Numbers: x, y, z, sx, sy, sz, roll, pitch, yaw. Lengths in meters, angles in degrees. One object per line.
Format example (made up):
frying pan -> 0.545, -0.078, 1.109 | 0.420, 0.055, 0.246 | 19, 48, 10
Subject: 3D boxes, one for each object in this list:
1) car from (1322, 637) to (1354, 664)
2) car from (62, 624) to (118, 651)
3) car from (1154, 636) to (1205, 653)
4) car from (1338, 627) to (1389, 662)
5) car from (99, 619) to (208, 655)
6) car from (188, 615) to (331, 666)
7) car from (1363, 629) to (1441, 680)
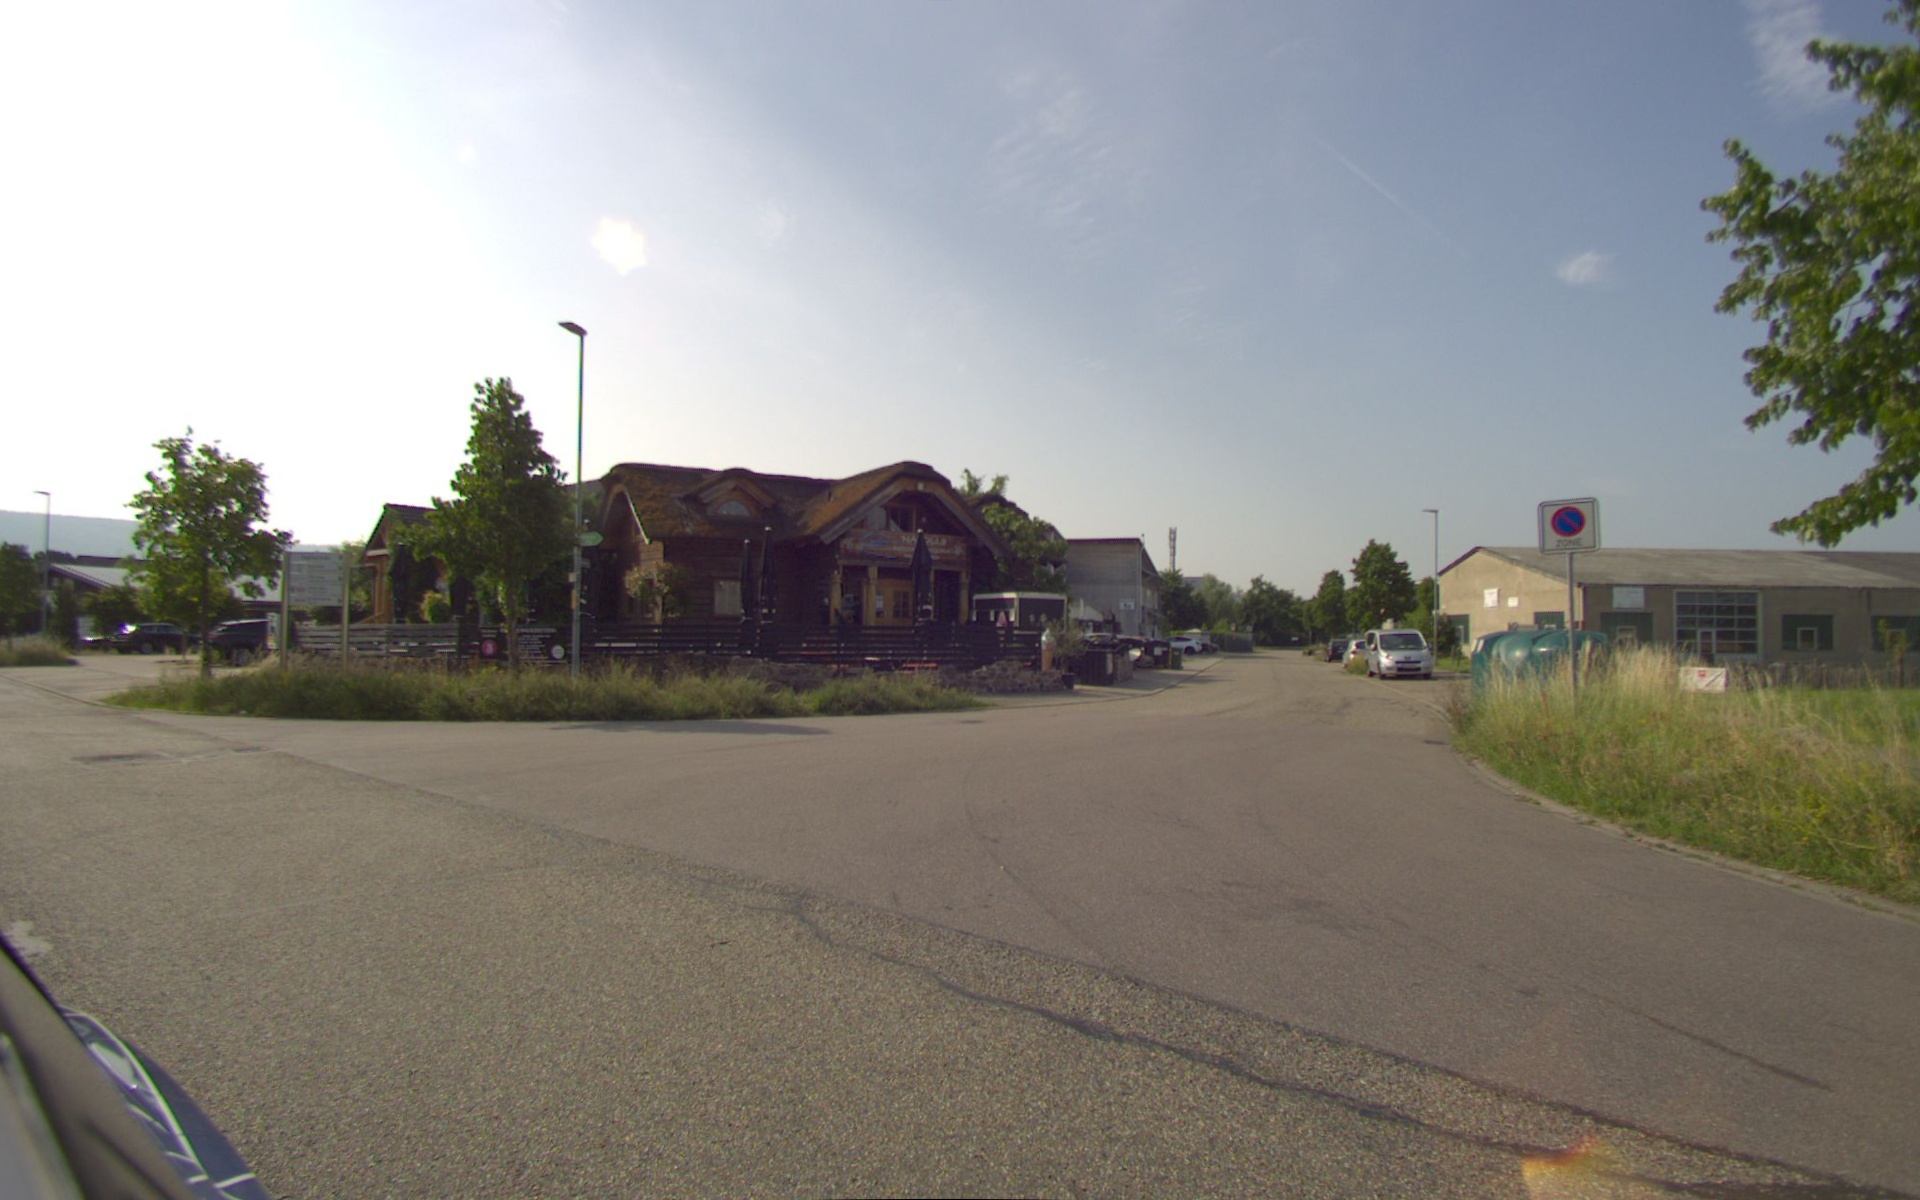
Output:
car -> 25.397, 3.387, 68.086 | 1.985, 1.741, 3.973 | -1, -2, 20
car -> -50.163, 2.155, 58.318 | 3.542, 1.492, 1.596 | -1, -2, 35
car -> 18.346, 3.714, 84.660 | 4.029, 1.378, 1.753 | -1, -2, 17
car -> 20.726, 2.252, 52.150 | 1.982, 1.741, 3.980 | 0, -2, 15
car -> -41.988, 1.892, 52.793 | 1.985, 1.807, 3.973 | -1, -2, 20
car -> -25.562, 1.462, 37.007 | 2.000, 1.741, 3.944 | -1, -2, 42
car -> 16.994, 2.024, 39.140 | 2.005, 1.838, 4.864 | 0, -2, 15
